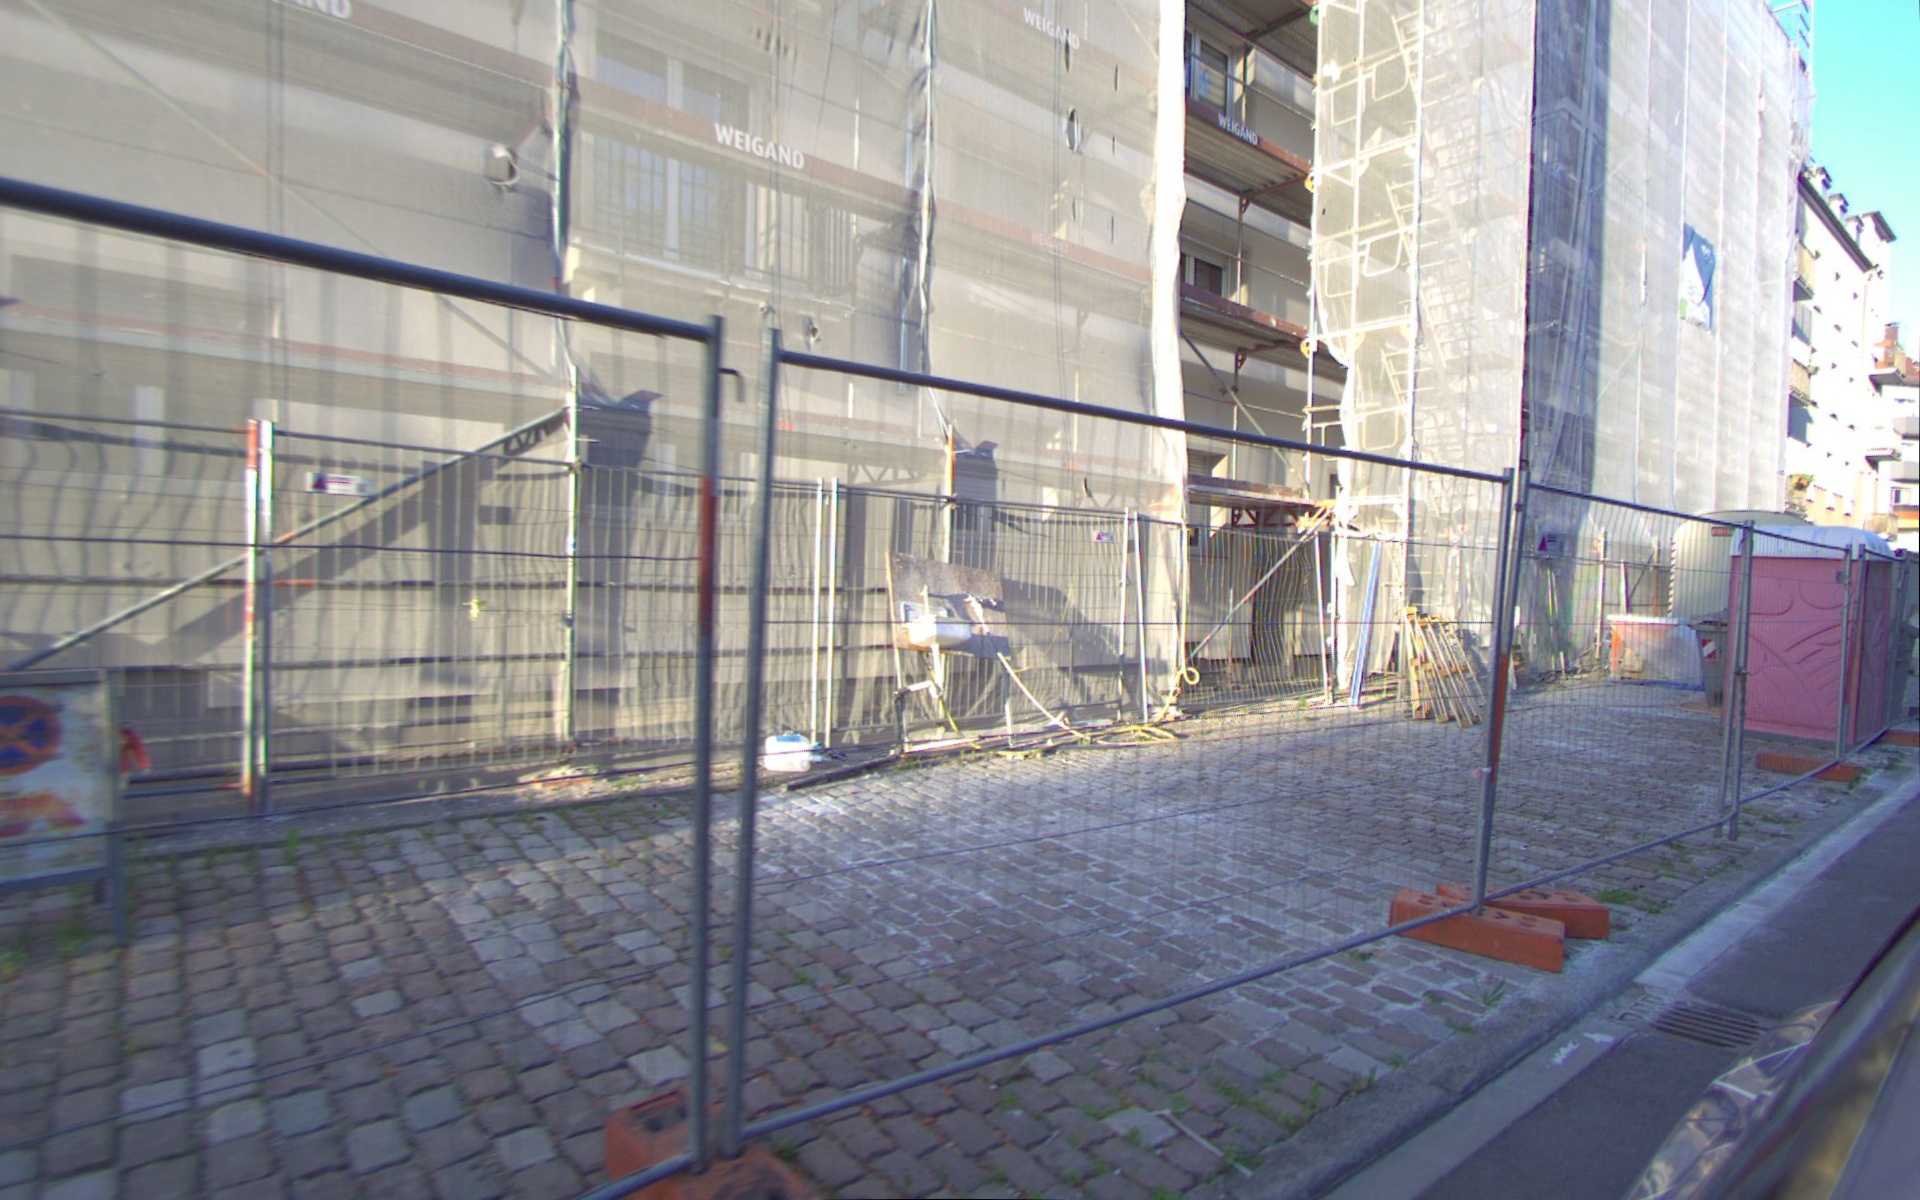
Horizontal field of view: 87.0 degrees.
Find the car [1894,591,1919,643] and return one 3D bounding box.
[{"bbox_3d":[32.724,0.618,32.397,1.871,1.658,3.993,0,2,-42],"label":"car"}]

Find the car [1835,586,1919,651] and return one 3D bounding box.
[{"bbox_3d":[25.355,0.506,25.901,1.837,1.635,4.165,1,2,-38],"label":"car"}]

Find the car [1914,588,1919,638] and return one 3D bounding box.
[{"bbox_3d":[36.186,0.511,35.341,1.965,1.749,3.995,-1,3,-41],"label":"car"}]

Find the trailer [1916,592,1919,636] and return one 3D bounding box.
[{"bbox_3d":[34.725,0.186,33.968,1.908,2.365,3.574,0,4,-42],"label":"trailer"}]
